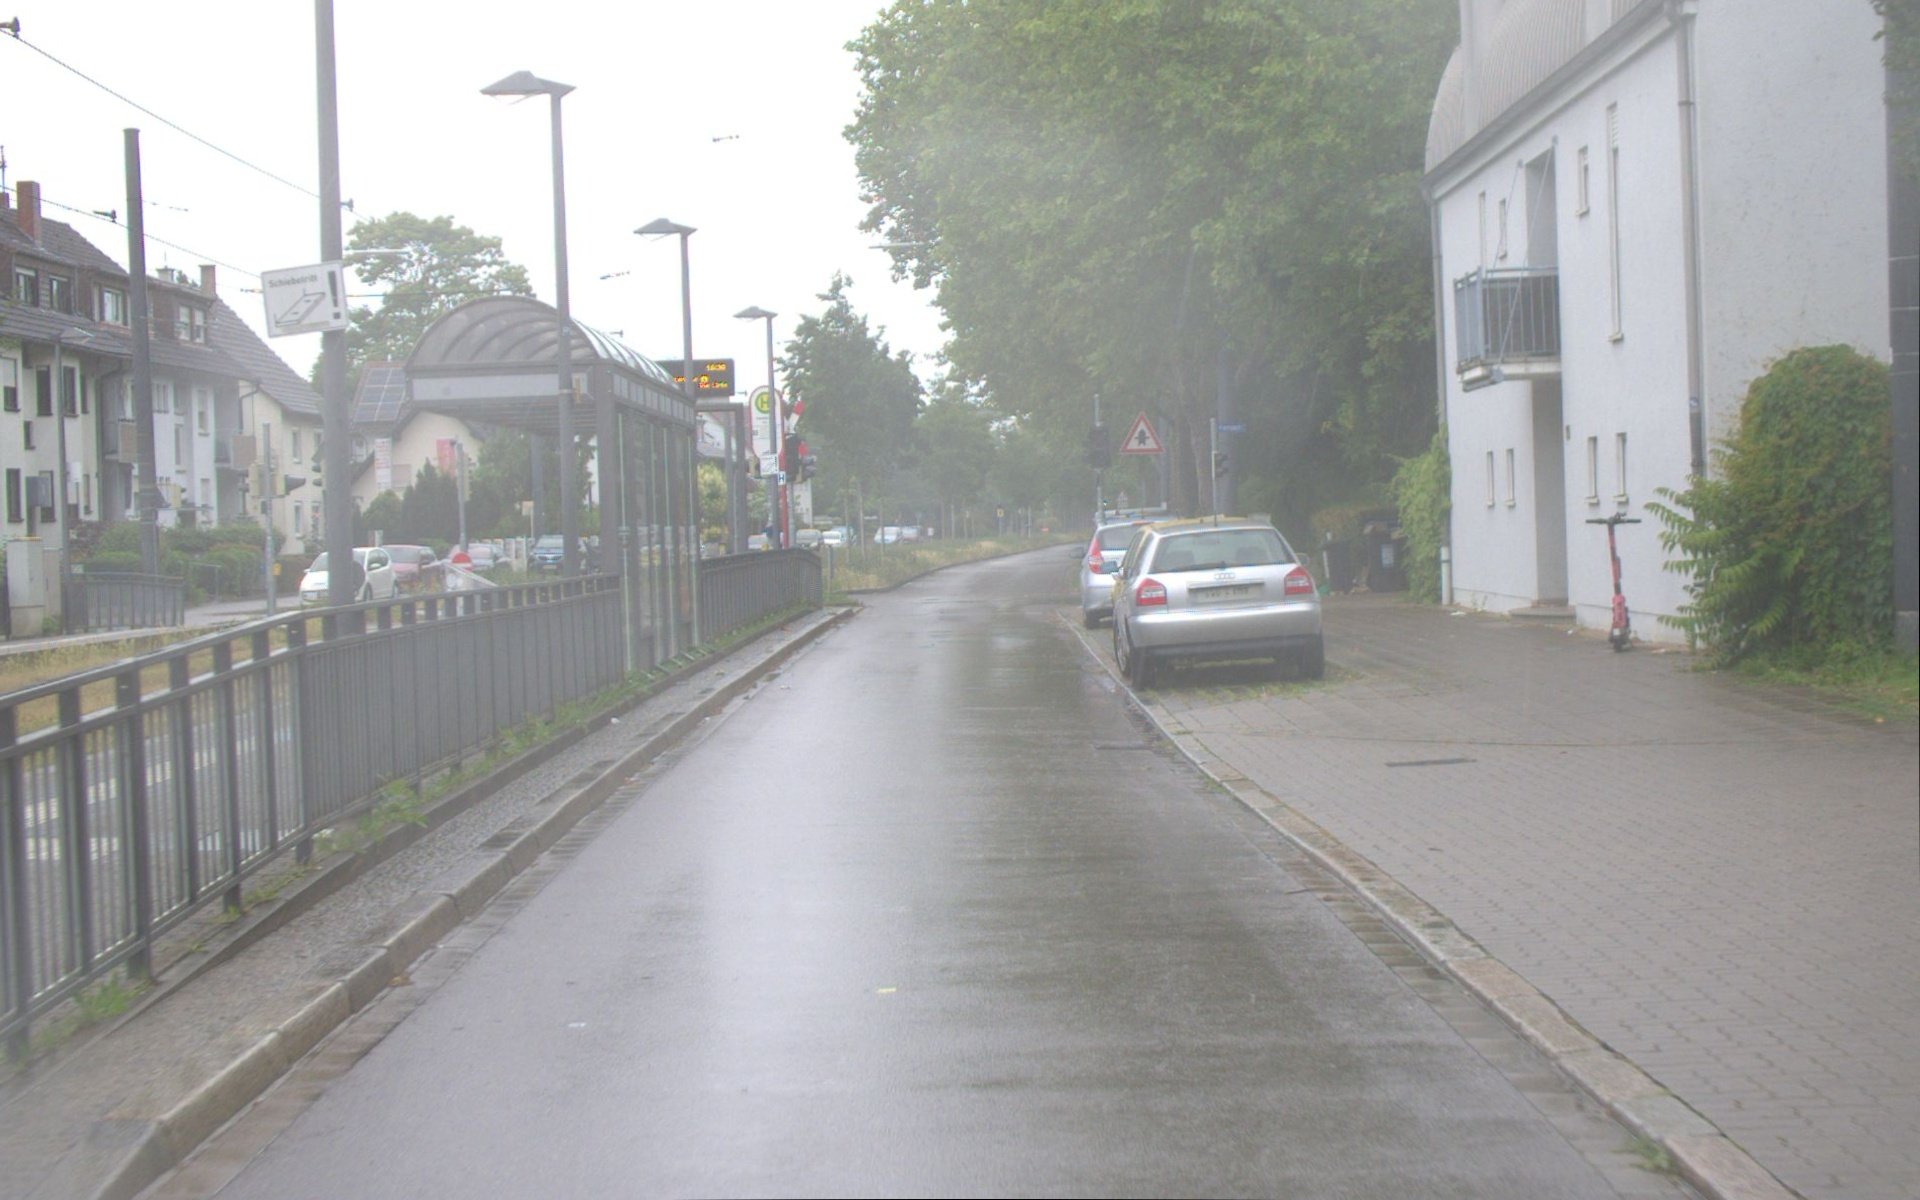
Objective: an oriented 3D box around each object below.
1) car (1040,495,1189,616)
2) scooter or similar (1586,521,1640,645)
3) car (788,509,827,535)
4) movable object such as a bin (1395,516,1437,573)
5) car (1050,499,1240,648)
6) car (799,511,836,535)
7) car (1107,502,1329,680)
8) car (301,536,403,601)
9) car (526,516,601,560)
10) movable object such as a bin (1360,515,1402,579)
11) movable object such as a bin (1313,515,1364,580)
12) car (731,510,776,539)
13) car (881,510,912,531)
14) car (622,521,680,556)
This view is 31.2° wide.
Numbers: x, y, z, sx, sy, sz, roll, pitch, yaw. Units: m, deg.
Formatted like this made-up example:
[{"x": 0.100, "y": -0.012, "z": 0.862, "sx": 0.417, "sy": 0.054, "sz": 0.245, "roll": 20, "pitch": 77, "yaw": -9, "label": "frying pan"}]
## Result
[{"x": 2.095, "y": -0.615, "z": 47.536, "sx": 1.807, "sy": 1.462, "sz": 3.794, "roll": -5, "pitch": 1, "yaw": 1, "label": "car"}, {"x": 5.819, "y": -0.160, "z": 30.676, "sx": 0.333, "sy": 1.081, "sz": 1.395, "roll": -1, "pitch": 1, "yaw": 5, "label": "scooter or similar"}, {"x": -9.201, "y": -4.712, "z": 207.477, "sx": 1.928, "sy": 1.481, "sz": 4.000, "roll": -1, "pitch": 1, "yaw": 4, "label": "car"}, {"x": 7.470, "y": -0.908, "z": 56.357, "sx": 0.536, "sy": 0.896, "sz": 0.739, "roll": -4, "pitch": 1, "yaw": 0, "label": "movable object such as a bin"}, {"x": 1.962, "y": -0.295, "z": 37.485, "sx": 1.807, "sy": 1.400, "sz": 3.794, "roll": -5, "pitch": 1, "yaw": 1, "label": "car"}, {"x": -9.044, "y": -4.905, "z": 218.716, "sx": 1.928, "sy": 1.481, "sz": 4.000, "roll": -1, "pitch": 1, "yaw": 4, "label": "car"}, {"x": 2.318, "y": -0.108, "z": 31.858, "sx": 1.650, "sy": 1.400, "sz": 4.649, "roll": -5, "pitch": 1, "yaw": 1, "label": "car"}, {"x": -14.599, "y": -0.766, "z": 82.726, "sx": 1.633, "sy": 1.488, "sz": 4.000, "roll": -1, "pitch": 1, "yaw": 1, "label": "car"}, {"x": -13.875, "y": -2.169, "z": 120.554, "sx": 1.928, "sy": 1.481, "sz": 4.000, "roll": -1, "pitch": 1, "yaw": 4, "label": "car"}, {"x": 6.912, "y": -0.870, "z": 56.502, "sx": 0.536, "sy": 1.018, "sz": 0.739, "roll": -4, "pitch": 1, "yaw": 0, "label": "movable object such as a bin"}, {"x": 6.287, "y": -0.876, "z": 57.176, "sx": 0.692, "sy": 1.018, "sz": 0.824, "roll": -4, "pitch": 1, "yaw": 0, "label": "movable object such as a bin"}, {"x": -11.100, "y": -4.068, "z": 185.262, "sx": 1.928, "sy": 1.481, "sz": 4.000, "roll": -1, "pitch": 1, "yaw": 4, "label": "car"}, {"x": -4.595, "y": -5.782, "z": 249.368, "sx": 1.928, "sy": 1.481, "sz": 4.000, "roll": -1, "pitch": 1, "yaw": 4, "label": "car"}, {"x": -13.492, "y": -2.697, "z": 150.288, "sx": 1.928, "sy": 1.481, "sz": 4.000, "roll": -1, "pitch": 1, "yaw": 4, "label": "car"}]
